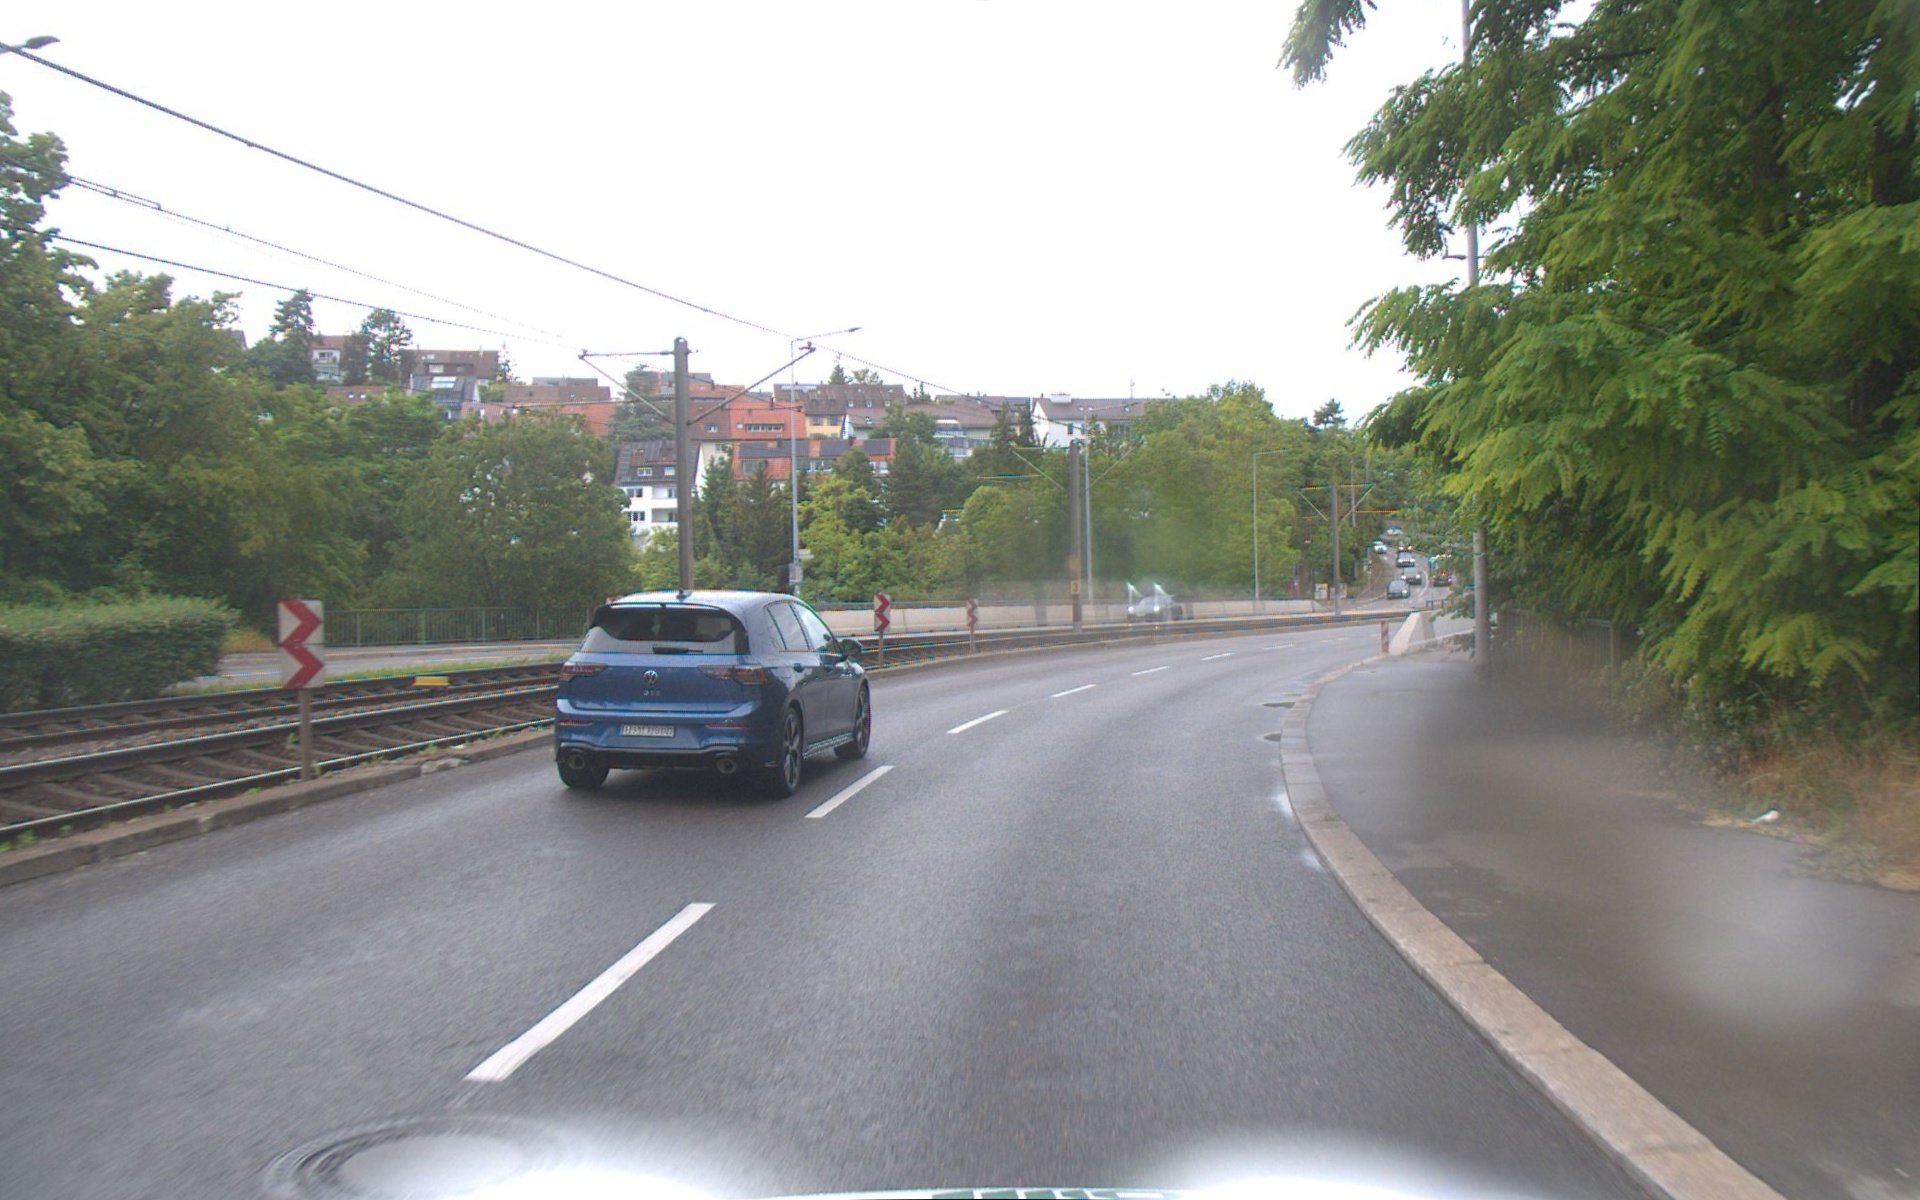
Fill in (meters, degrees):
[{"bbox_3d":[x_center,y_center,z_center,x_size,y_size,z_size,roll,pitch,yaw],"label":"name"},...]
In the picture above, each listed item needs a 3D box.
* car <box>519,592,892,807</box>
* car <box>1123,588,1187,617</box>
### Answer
[{"bbox_3d":[-1.834,0.655,13.385,1.769,1.402,4.351,1,1,8],"label":"car"},{"bbox_3d":[9.880,0.093,83.396,1.954,1.390,4.187,0,1,26],"label":"car"}]
